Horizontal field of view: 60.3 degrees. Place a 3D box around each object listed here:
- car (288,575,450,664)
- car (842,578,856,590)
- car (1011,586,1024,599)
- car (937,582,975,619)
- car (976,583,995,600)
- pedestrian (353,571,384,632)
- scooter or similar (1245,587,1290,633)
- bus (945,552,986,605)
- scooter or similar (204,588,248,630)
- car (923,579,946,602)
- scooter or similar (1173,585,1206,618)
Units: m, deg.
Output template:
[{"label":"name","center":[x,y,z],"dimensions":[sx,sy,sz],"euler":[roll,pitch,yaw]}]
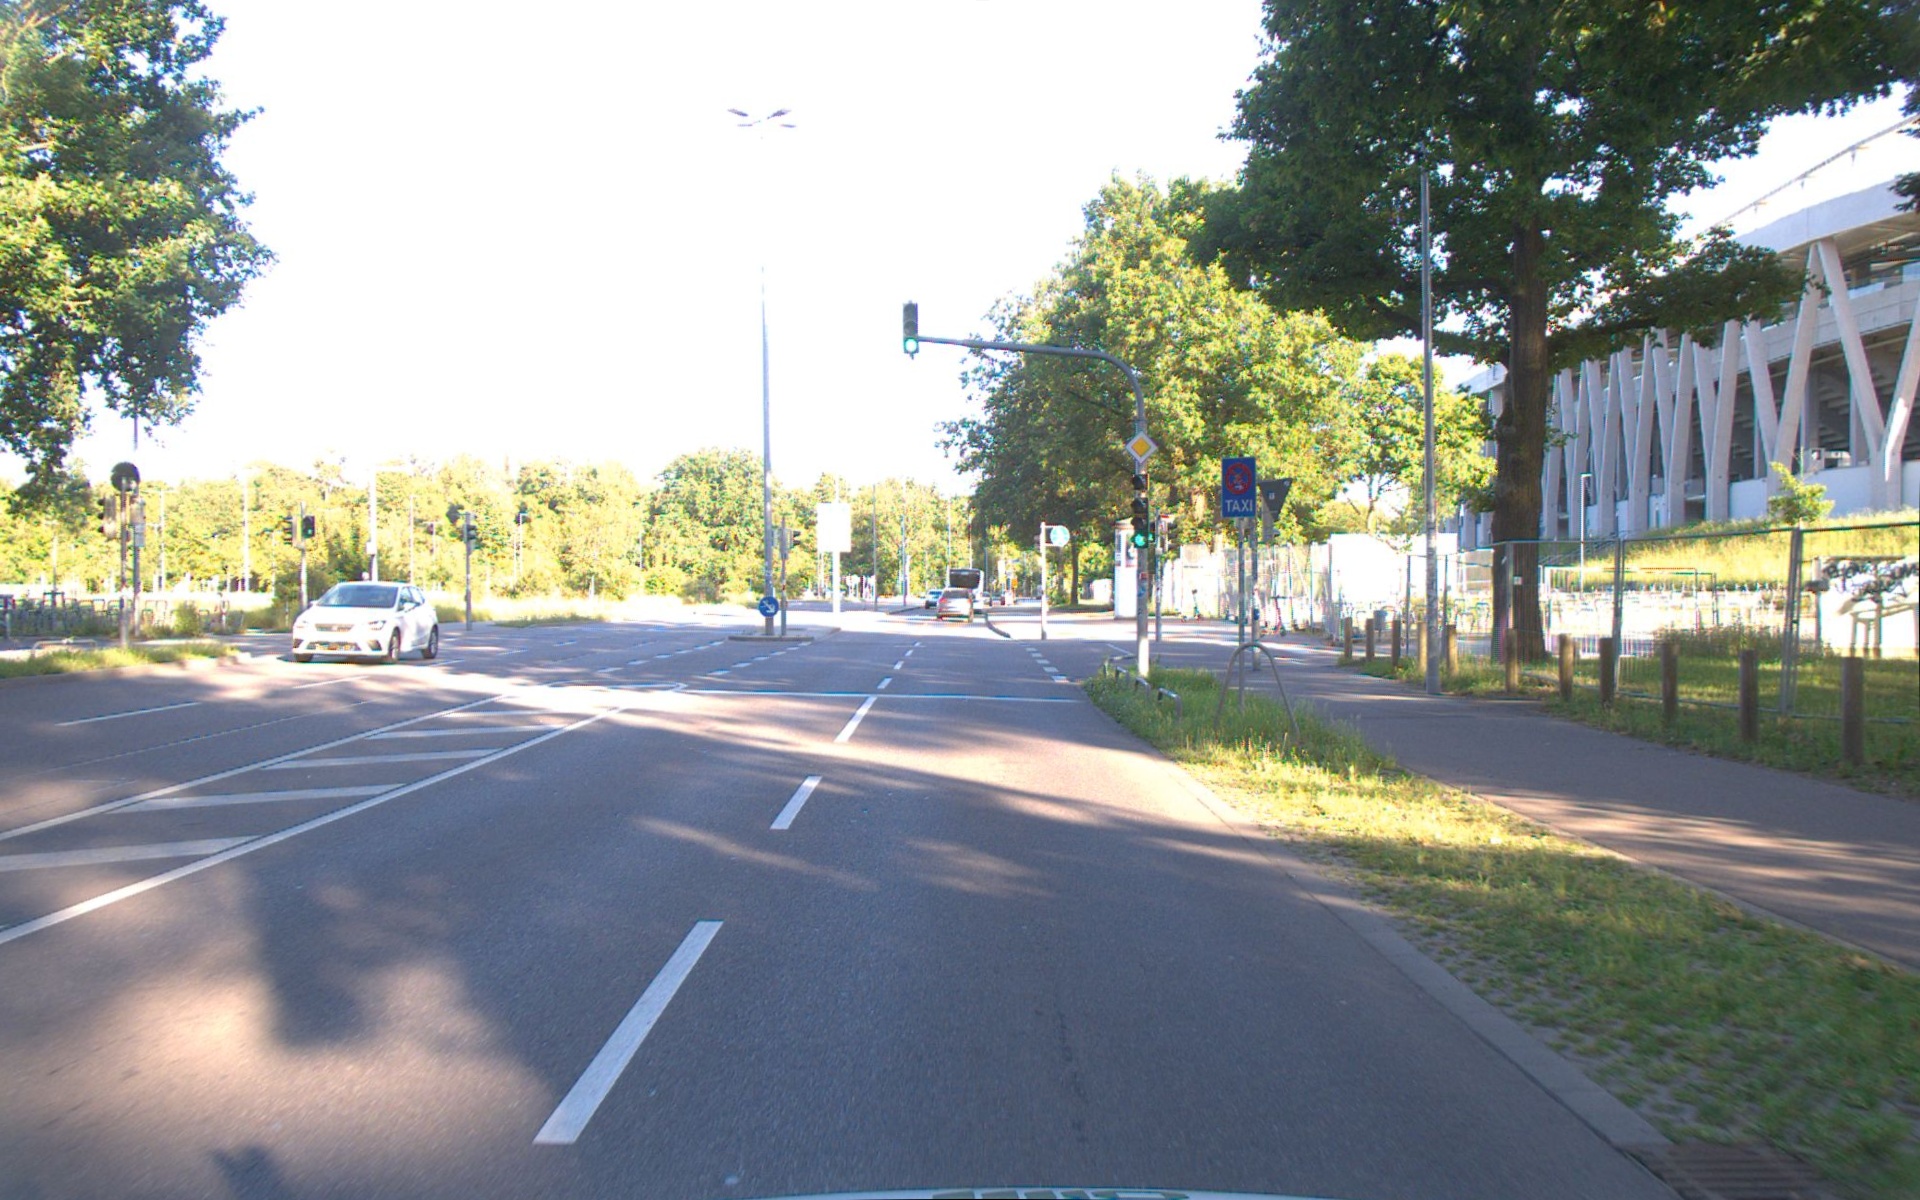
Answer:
[{"label":"car","center":[-10.770,0.319,30.437],"dimensions":[1.677,1.489,4.098],"euler":[2,0,-3]},{"label":"car","center":[-15.602,-2.248,232.278],"dimensions":[1.825,1.713,3.772],"euler":[-1,1,-1]},{"label":"car","center":[7.515,-1.017,216.859],"dimensions":[1.559,1.633,3.584],"euler":[2,0,1]},{"label":"car","center":[-0.219,-0.013,83.188],"dimensions":[1.842,1.796,4.000],"euler":[0,1,-1]},{"label":"car","center":[2.617,-0.875,168.474],"dimensions":[1.824,1.713,3.774],"euler":[-1,1,3]},{"label":"pedestrian","center":[-18.797,0.048,52.578],"dimensions":[0.600,1.943,1.106],"euler":[-1,0,-1]},{"label":"scooter or similar","center":[9.083,0.275,48.904],"dimensions":[1.351,1.310,0.594],"euler":[0,3,-44]},{"label":"bus","center":[0.335,-1.458,112.118],"dimensions":[2.552,3.427,7.974],"euler":[1,1,-1]},{"label":"scooter or similar","center":[-22.331,0.263,50.350],"dimensions":[0.500,1.246,1.360],"euler":[-1,0,13]},{"label":"car","center":[-2.033,-0.785,134.901],"dimensions":[1.842,1.796,4.000],"euler":[0,1,-1]},{"label":"scooter or similar","center":[8.868,0.046,63.930],"dimensions":[0.558,1.278,1.593],"euler":[0,0,38]}]
